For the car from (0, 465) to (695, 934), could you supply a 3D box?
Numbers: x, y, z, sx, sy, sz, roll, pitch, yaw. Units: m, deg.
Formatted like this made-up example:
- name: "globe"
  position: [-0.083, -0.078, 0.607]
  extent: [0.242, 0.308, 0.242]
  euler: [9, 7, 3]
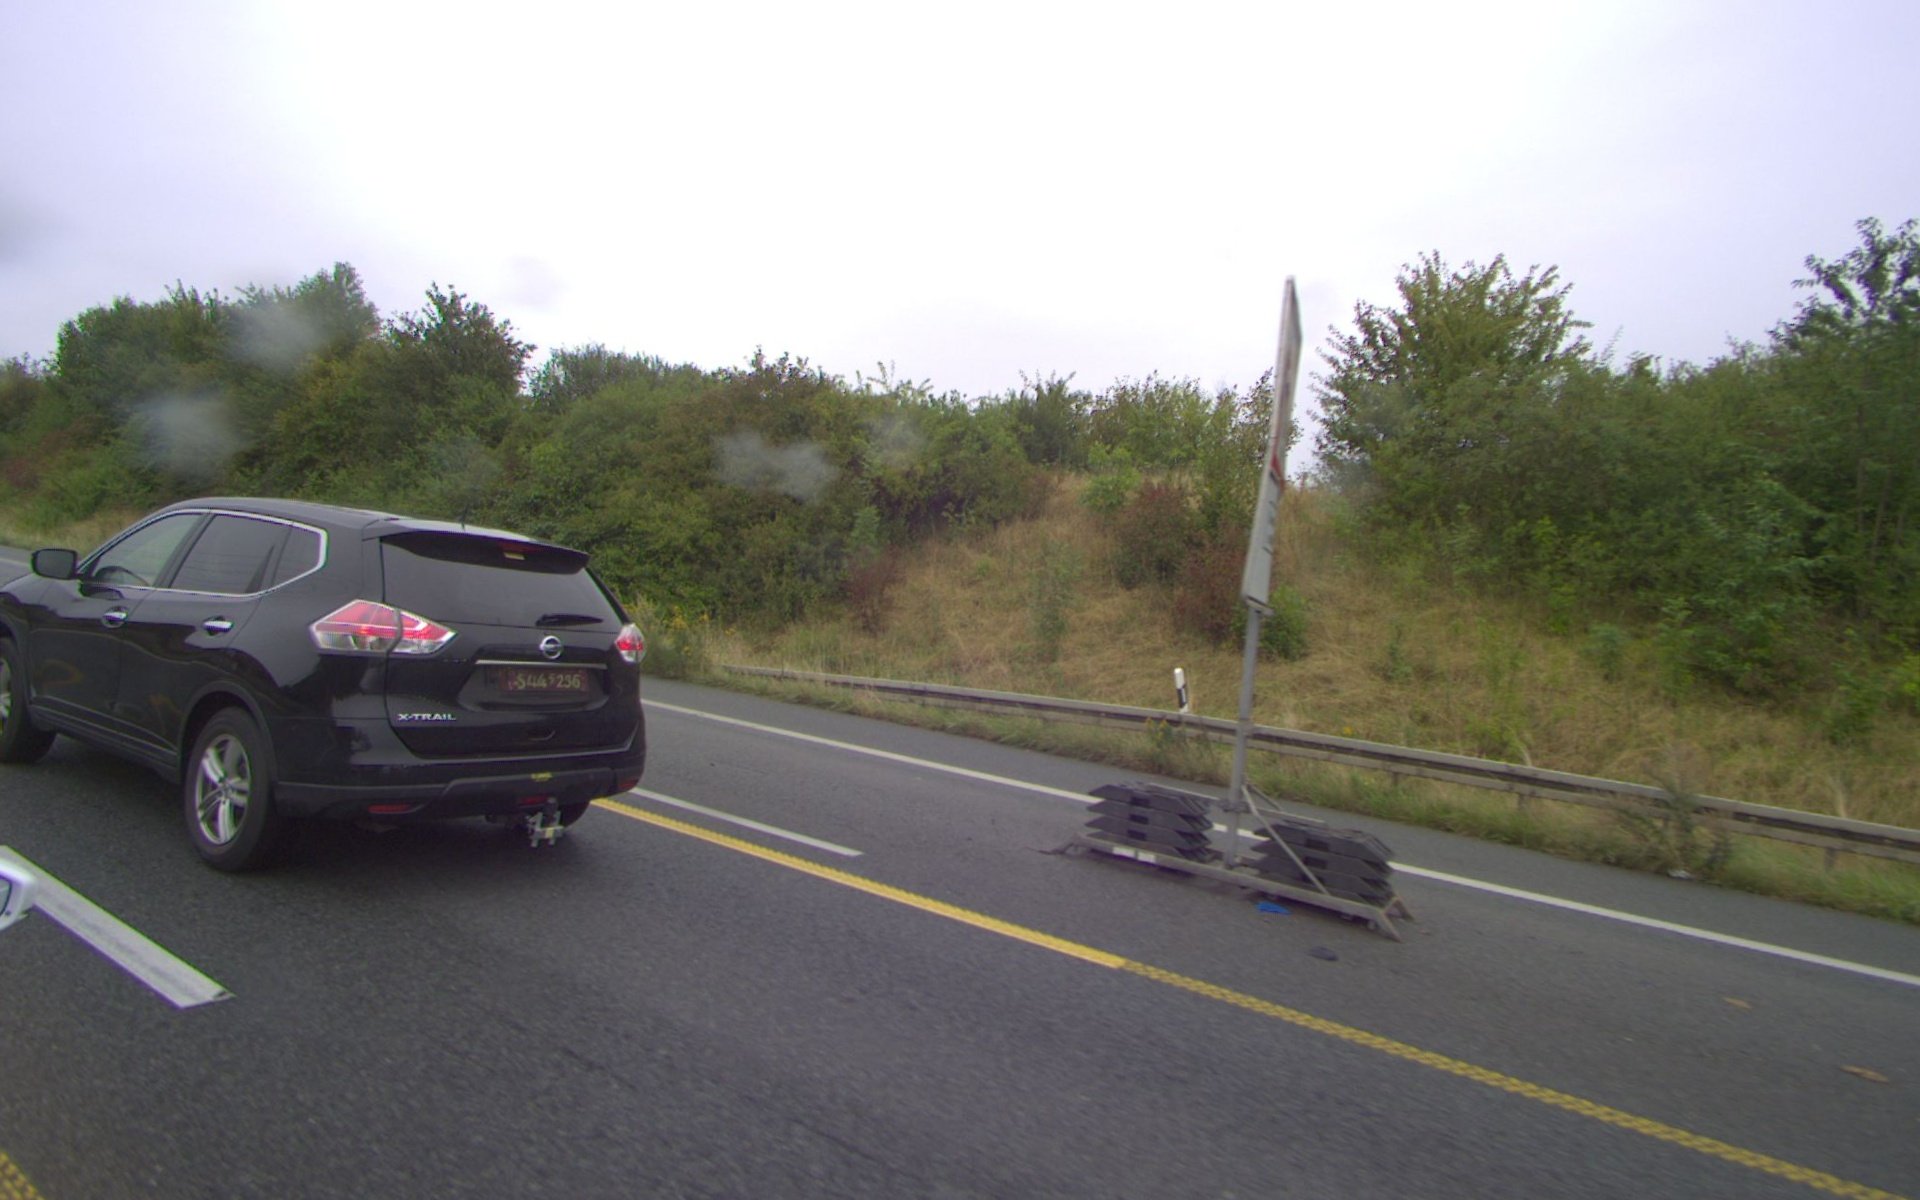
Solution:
- name: "car"
  position: [-3.717, 0.305, 5.636]
  extent: [4.208, 1.678, 1.688]
  euler: [7, -1, 30]
